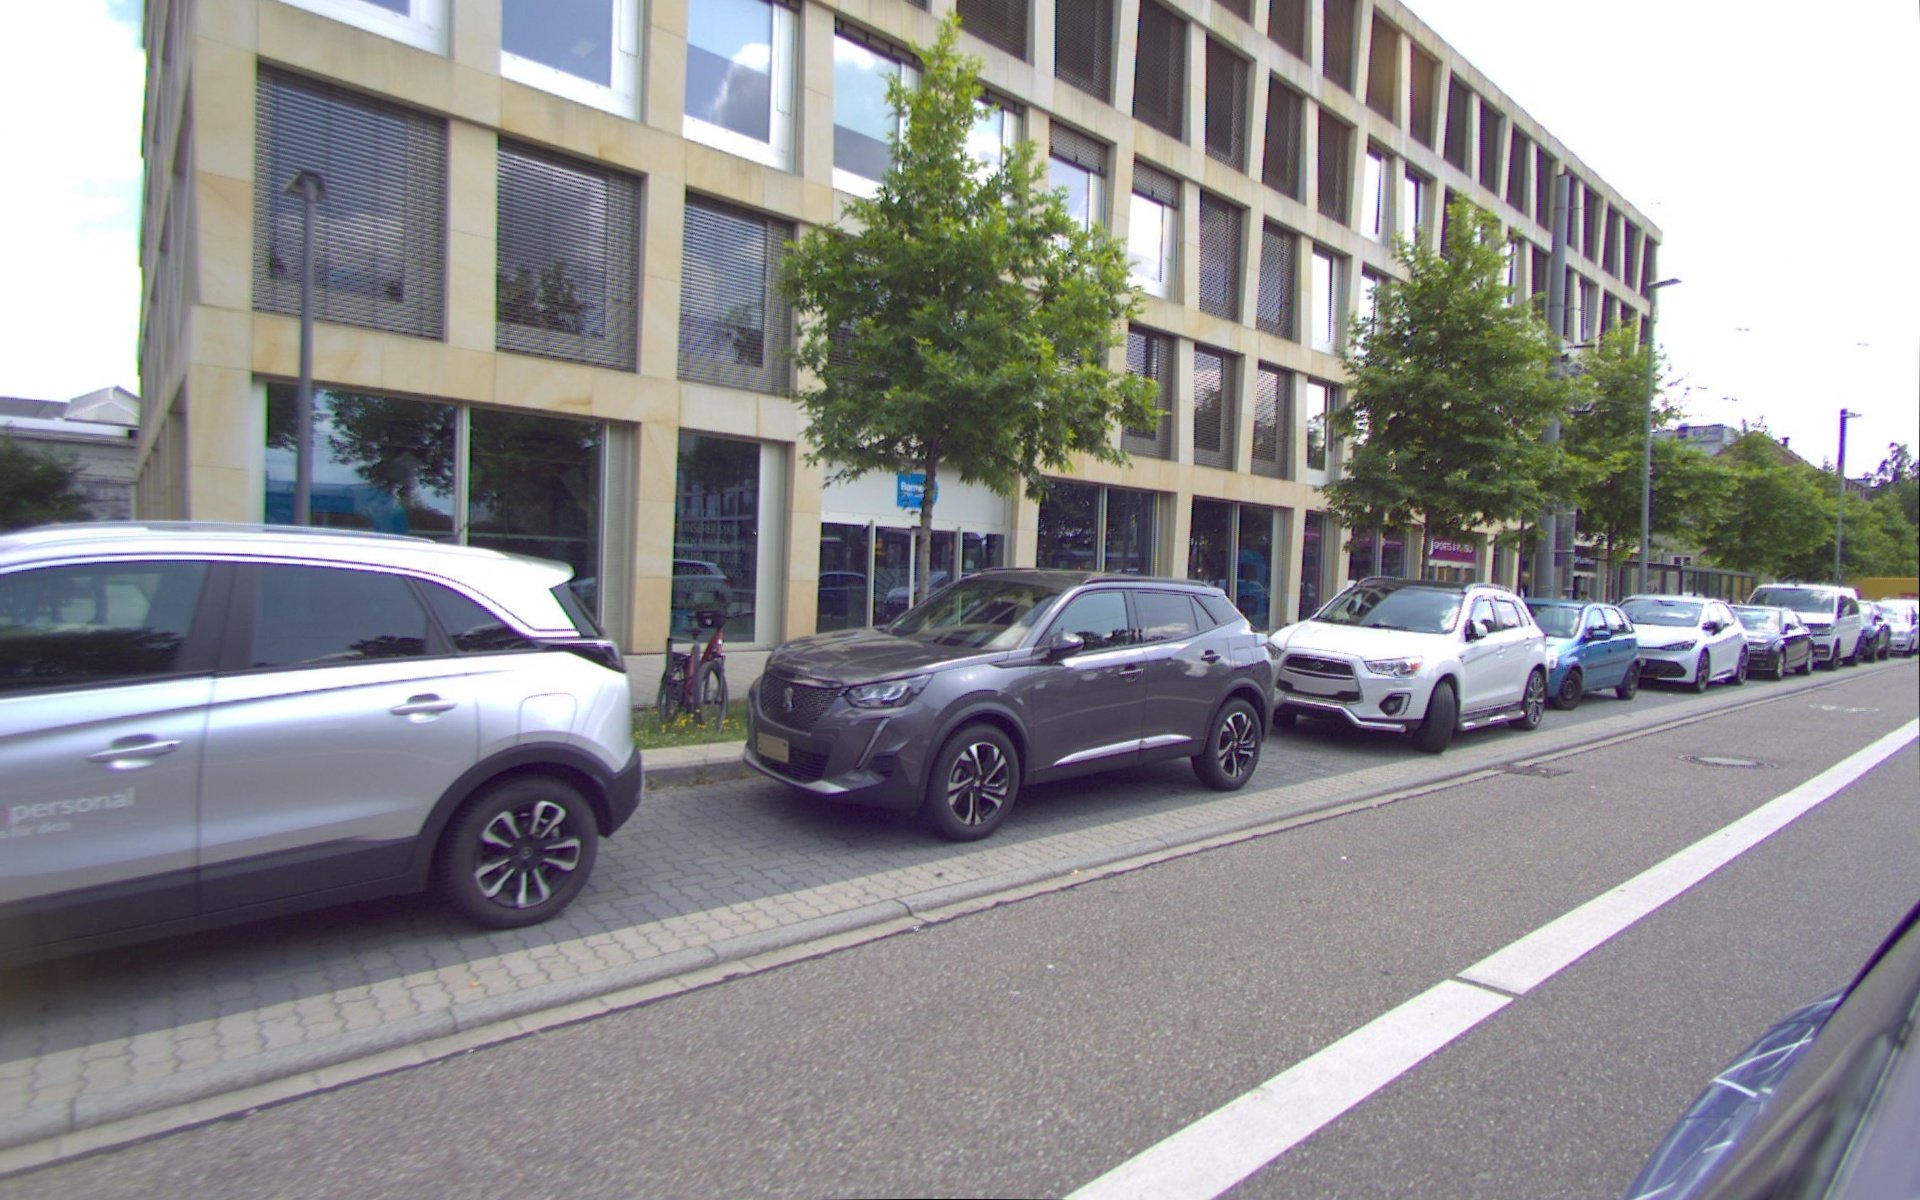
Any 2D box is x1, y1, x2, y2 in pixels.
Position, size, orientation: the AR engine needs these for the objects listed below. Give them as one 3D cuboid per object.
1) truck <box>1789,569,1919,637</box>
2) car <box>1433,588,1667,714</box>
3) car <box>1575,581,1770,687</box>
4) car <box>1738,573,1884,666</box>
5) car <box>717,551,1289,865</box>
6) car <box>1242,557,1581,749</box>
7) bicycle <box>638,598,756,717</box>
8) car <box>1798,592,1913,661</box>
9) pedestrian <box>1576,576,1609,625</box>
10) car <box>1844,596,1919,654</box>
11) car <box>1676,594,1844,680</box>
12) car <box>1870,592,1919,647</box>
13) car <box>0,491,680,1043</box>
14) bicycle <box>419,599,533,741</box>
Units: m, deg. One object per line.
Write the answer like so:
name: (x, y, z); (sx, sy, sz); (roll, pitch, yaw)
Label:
truck: (42.674, 0.122, 46.416); (2.413, 2.902, 6.817); (0, 2, -42)
car: (8.574, 0.647, 14.593); (3.881, 1.475, 1.689); (0, 3, -41)
car: (12.551, 0.529, 17.752); (4.085, 1.548, 1.797); (0, 3, -41)
car: (20.629, 0.426, 24.453); (4.758, 1.962, 1.886); (1, 3, -41)
car: (0.472, 0.536, 7.104); (3.857, 1.567, 1.689); (1, 3, -41)
car: (4.950, 0.454, 10.845); (4.079, 1.625, 1.689); (1, 3, -41)
bicycle: (-2.450, 0.485, 9.343); (0.496, 0.928, 1.500); (-3, 4, -37)
car: (24.885, 0.679, 28.076); (4.448, 1.660, 1.725); (0, 3, -41)
pedestrian: (20.585, 0.013, 32.935); (0.889, 1.570, 0.638); (1, 1, -41)
car: (28.910, 0.741, 31.382); (3.792, 1.640, 1.725); (1, 2, -41)
car: (16.724, 0.694, 21.071); (4.483, 1.505, 1.886); (0, 3, -41)
car: (33.410, 0.676, 35.373); (4.755, 1.789, 1.773); (0, 2, -41)
car: (-3.277, 0.444, 3.783); (3.923, 1.653, 1.689); (0, 4, -43)
bicycle: (-3.844, 0.499, 7.989); (0.496, 0.928, 1.500); (-3, 4, -37)
